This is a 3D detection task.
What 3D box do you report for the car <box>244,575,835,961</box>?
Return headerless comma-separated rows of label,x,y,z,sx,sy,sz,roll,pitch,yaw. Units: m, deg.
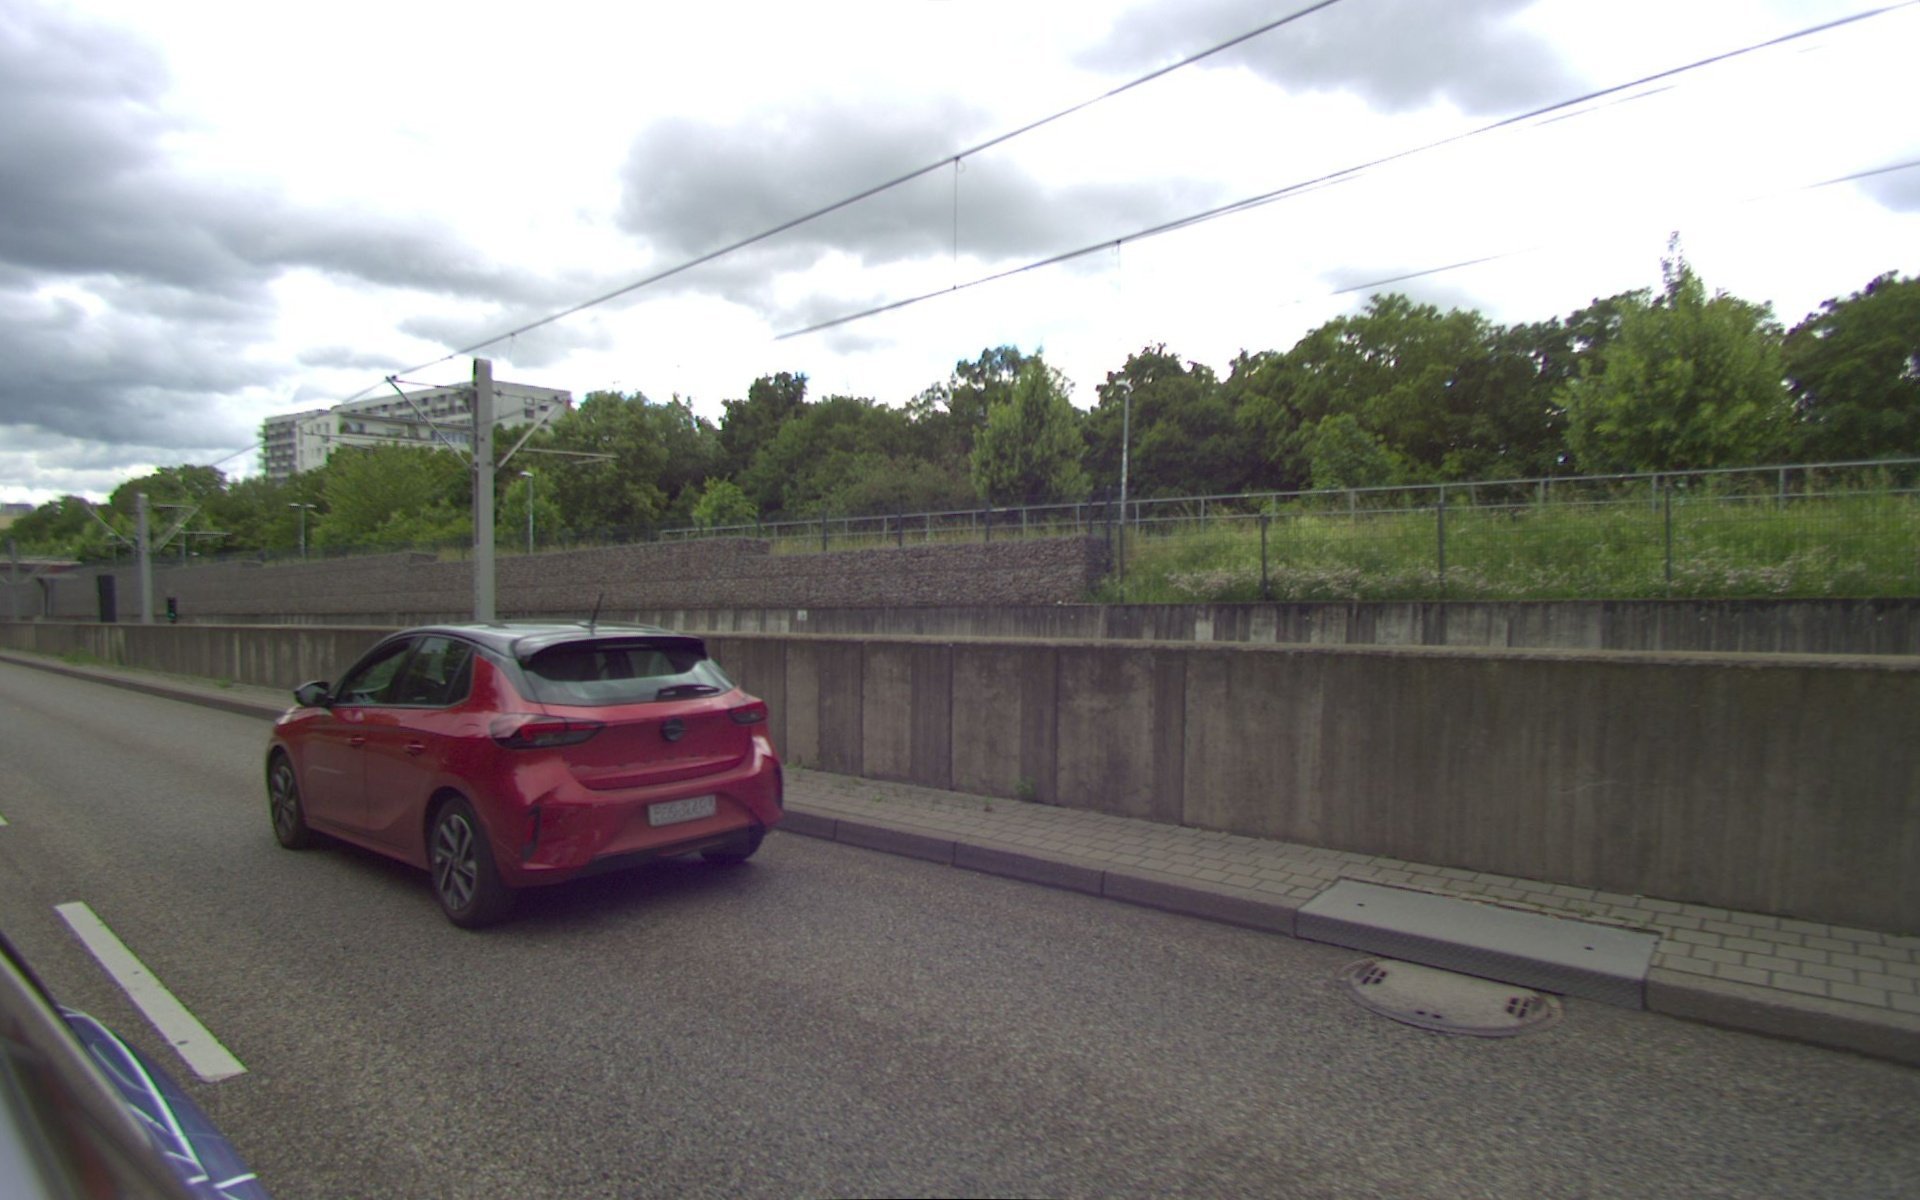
car,-2.693,0.711,6.018,3.950,1.557,1.646,-1,-1,40
